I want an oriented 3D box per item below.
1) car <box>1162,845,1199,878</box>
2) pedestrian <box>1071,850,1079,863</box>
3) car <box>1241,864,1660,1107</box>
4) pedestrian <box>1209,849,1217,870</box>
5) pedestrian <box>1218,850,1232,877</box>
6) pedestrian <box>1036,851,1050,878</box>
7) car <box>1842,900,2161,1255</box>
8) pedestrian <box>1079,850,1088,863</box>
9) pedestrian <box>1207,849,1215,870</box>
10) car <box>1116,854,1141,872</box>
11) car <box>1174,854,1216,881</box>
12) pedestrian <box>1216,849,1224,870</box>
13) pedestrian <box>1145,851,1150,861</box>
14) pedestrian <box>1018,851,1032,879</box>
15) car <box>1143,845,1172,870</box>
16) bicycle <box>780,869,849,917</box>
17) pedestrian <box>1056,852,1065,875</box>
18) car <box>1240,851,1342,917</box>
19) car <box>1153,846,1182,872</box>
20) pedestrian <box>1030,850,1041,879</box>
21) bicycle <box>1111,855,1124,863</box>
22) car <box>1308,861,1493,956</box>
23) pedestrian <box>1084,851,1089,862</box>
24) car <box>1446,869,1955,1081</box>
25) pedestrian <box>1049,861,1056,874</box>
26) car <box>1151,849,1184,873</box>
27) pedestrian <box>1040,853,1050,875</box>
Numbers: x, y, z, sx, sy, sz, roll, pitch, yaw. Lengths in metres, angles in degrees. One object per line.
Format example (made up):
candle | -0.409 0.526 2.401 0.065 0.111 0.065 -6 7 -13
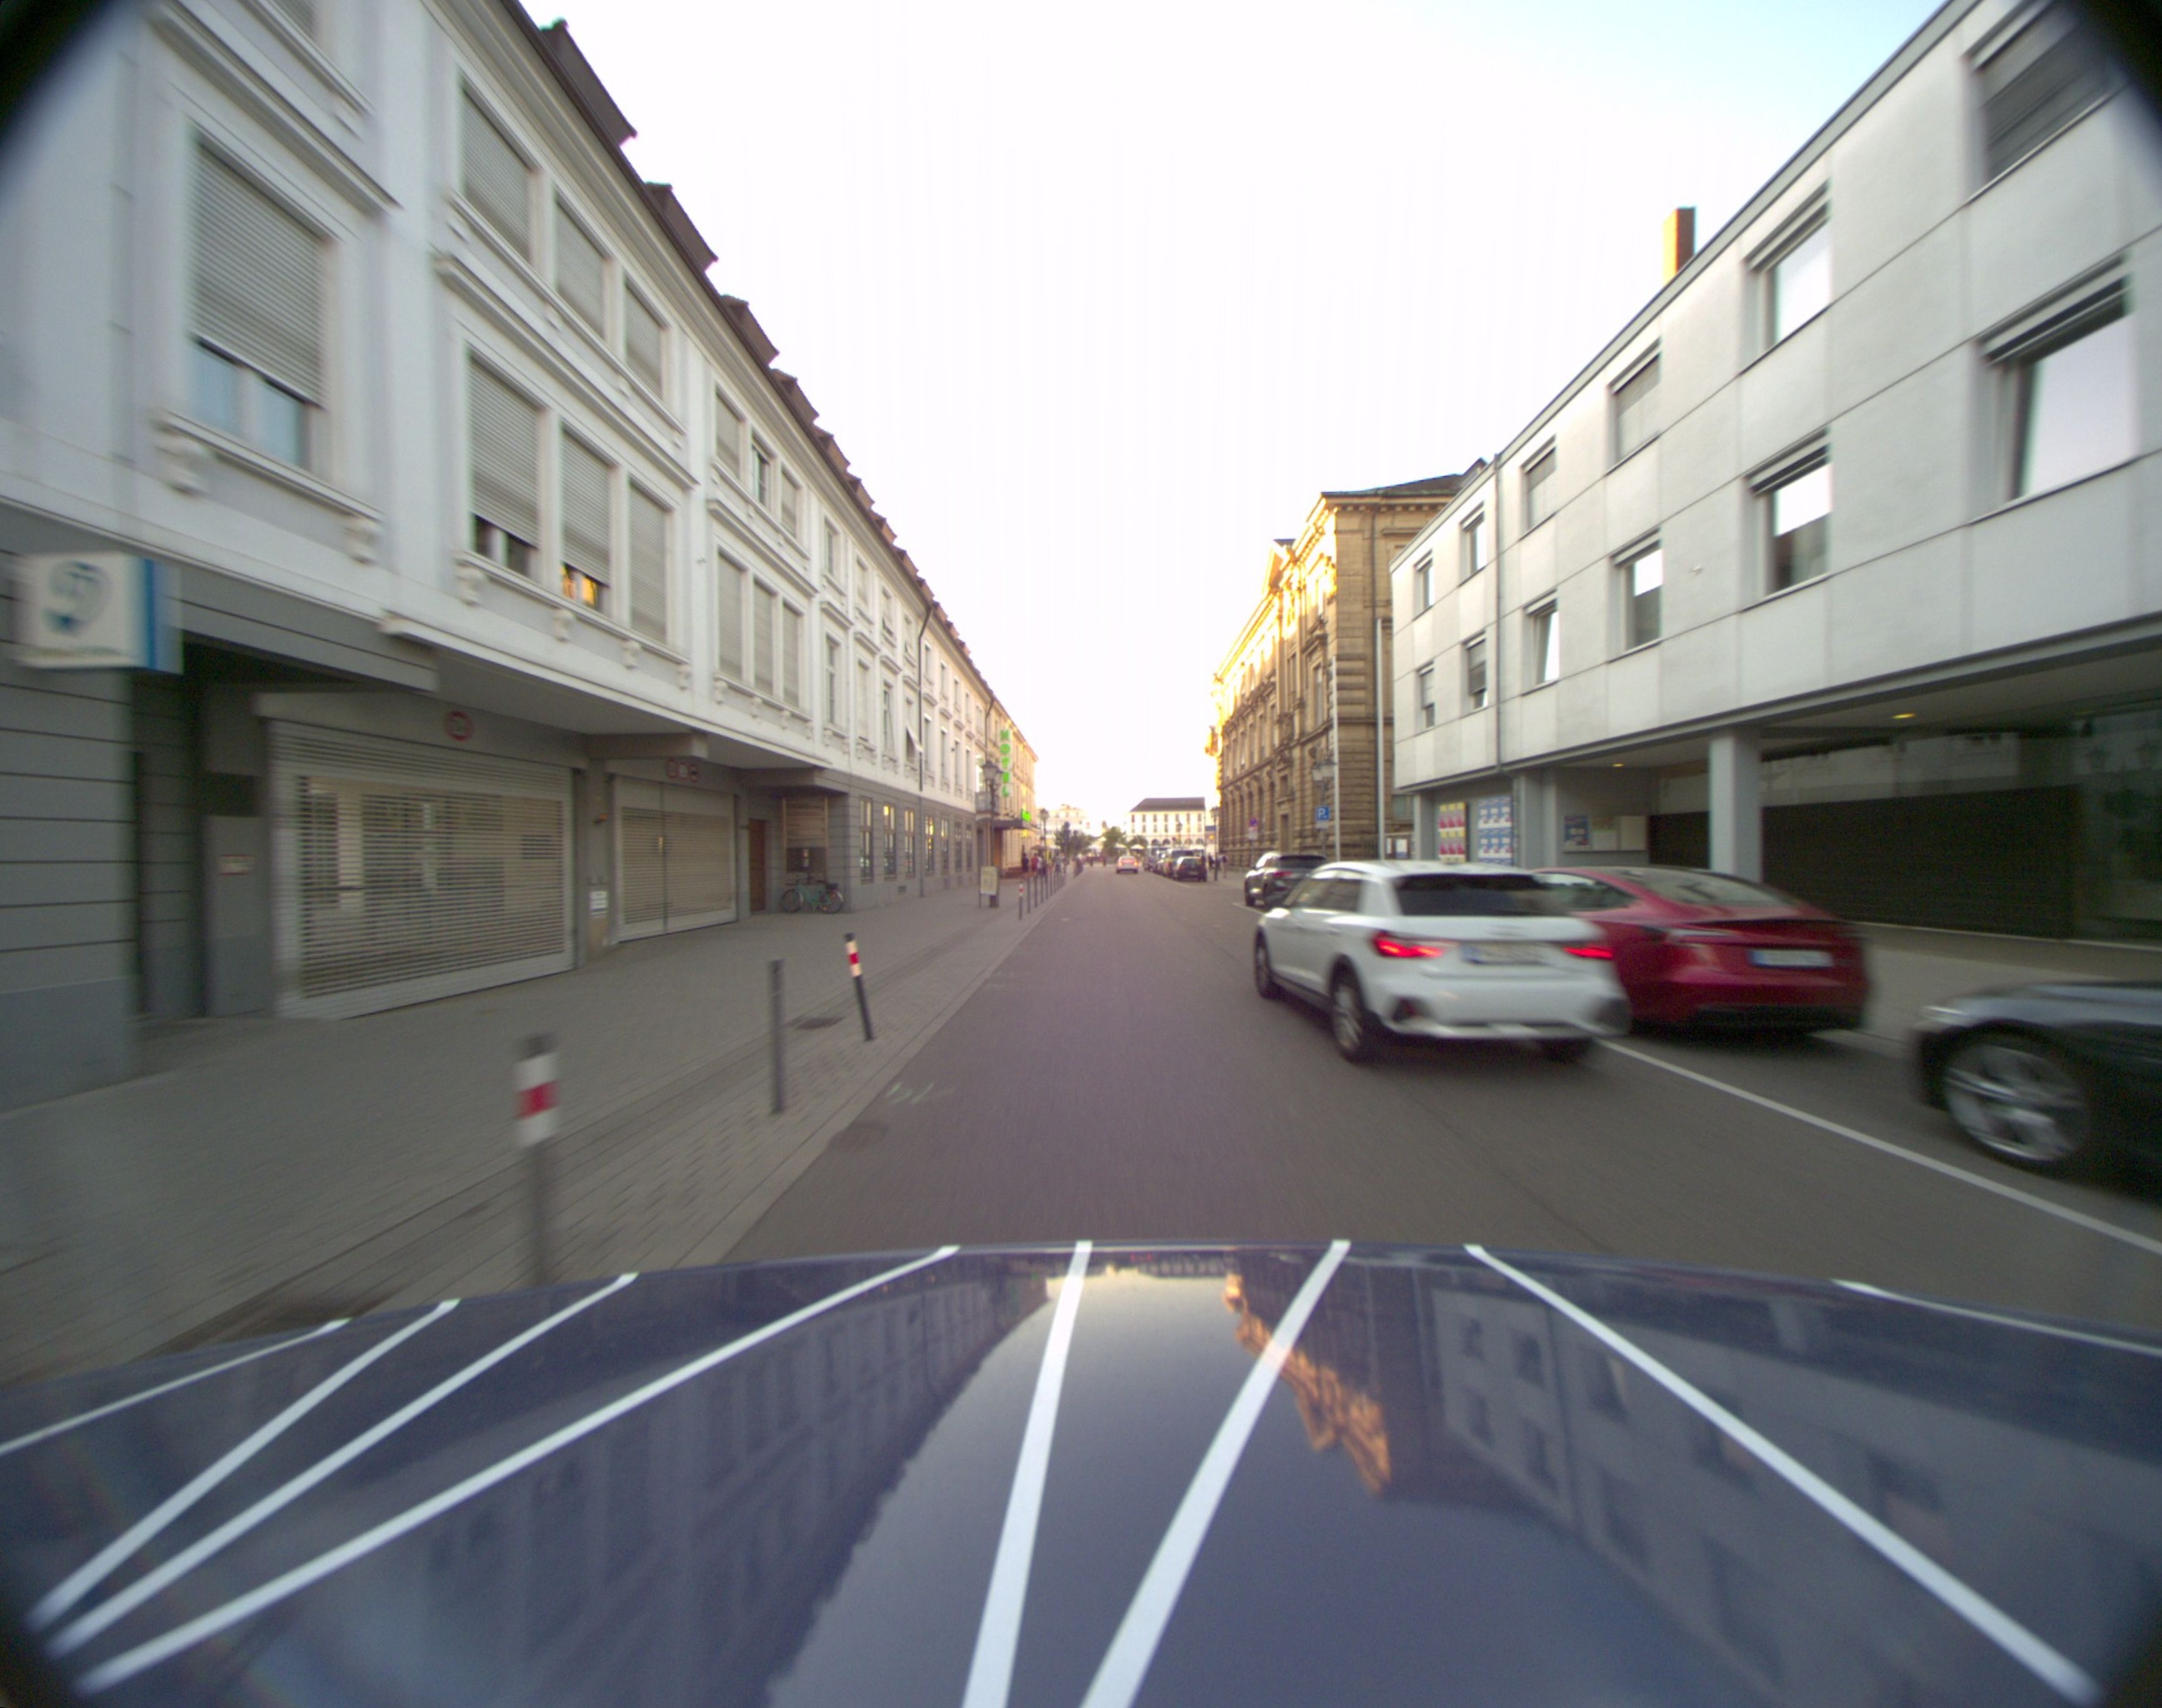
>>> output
car | 6.745 0.478 51.855 1.998 2.065 4.989 -1 1 1
pedestrian | -0.737 0.299 96.949 0.607 1.720 0.719 0 1 45
car | 2.686 0.837 6.669 1.768 1.414 4.000 0 0 1
pedestrian | 10.948 0.492 63.060 0.583 1.720 0.831 -1 1 3
pedestrian | 9.436 0.606 49.795 0.715 1.720 0.896 -4 0 3
pedestrian | -2.453 0.687 49.230 0.749 1.720 0.881 -1 1 5
car | 5.335 0.957 2.360 1.998 1.346 4.000 1 0 2
pedestrian | 0.312 0.299 96.966 0.667 1.720 0.767 0 1 45
pedestrian | 10.817 0.429 63.232 0.575 1.720 0.744 -1 1 3
car | 3.963 0.729 63.874 1.789 1.400 4.088 -1 0 0
car | 6.738 0.793 45.333 1.998 1.486 4.165 -1 1 2
pedestrian | 11.564 0.439 63.232 0.608 1.720 0.703 -1 1 3
pedestrian | 11.832 0.385 134.713 0.856 1.720 0.881 -1 1 5
pedestrian | -3.612 0.705 48.985 0.715 1.720 0.873 -1 1 4
car | 7.069 0.295 70.686 1.999 2.158 5.206 -1 0 -1
bicycle | -7.176 1.045 20.482 1.661 1.245 0.439 -1 1 -1
pedestrian | -1.556 0.682 57.257 0.608 1.720 0.558 -1 1 3
car | 5.560 0.734 20.654 1.789 1.605 4.166 -1 0 3
car | 7.203 0.391 63.799 1.998 2.075 5.207 -1 1 2
pedestrian | -2.883 0.669 48.329 0.622 1.779 0.913 -1 1 -2
bicycle | 5.462 0.705 113.282 1.683 1.115 0.846 -1 1 36
car | 5.538 0.865 13.781 1.789 1.400 4.089 -1 0 3
pedestrian | 0.738 0.384 106.805 0.683 1.557 0.653 -1 1 0
car | 5.378 0.910 7.451 1.789 1.400 4.089 -1 0 3
pedestrian | -2.119 1.028 56.664 0.461 0.974 0.558 -1 1 3
car | 6.587 0.488 58.158 1.998 1.742 4.989 -1 1 1
pedestrian | -2.698 0.738 56.868 0.631 1.591 0.615 -1 1 3
